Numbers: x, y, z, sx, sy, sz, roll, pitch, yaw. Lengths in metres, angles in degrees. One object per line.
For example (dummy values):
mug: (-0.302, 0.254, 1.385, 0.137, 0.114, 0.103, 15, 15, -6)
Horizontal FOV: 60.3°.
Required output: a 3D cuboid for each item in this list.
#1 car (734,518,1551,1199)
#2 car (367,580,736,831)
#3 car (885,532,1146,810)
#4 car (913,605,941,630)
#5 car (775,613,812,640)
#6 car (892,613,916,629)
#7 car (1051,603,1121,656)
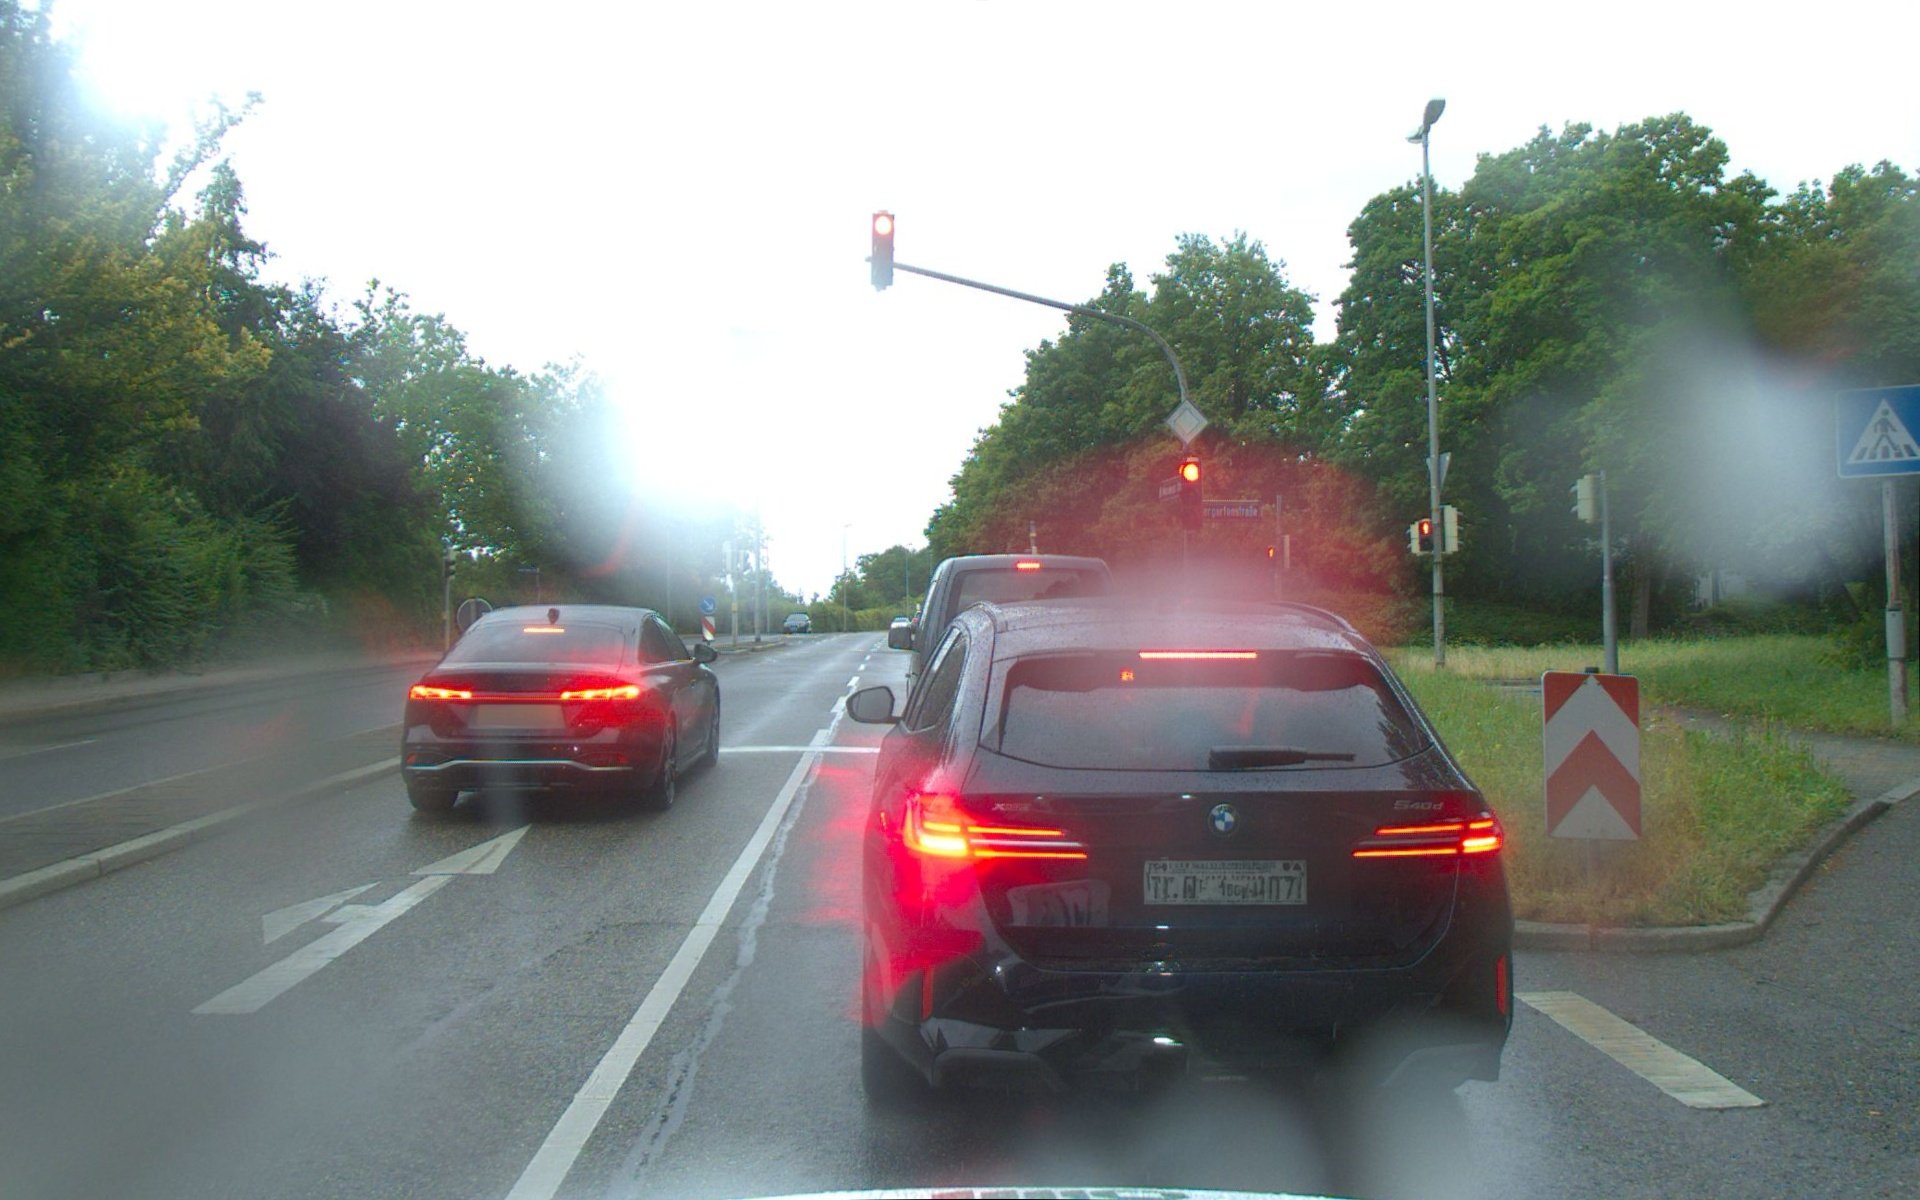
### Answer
car: (0.523, 0.646, 6.099, 1.858, 1.578, 4.616, 0, -1, 3)
car: (-2.953, 0.705, 12.967, 1.954, 1.554, 4.325, -2, 0, -3)
car: (0.374, 0.500, 13.352, 1.781, 1.901, 3.952, 0, 0, 0)
car: (-2.022, 1.098, 102.733, 1.663, 1.452, 3.513, -2, 0, 0)
car: (-11.937, 1.881, 118.714, 1.952, 1.858, 4.002, -2, -1, 4)
car: (-6.081, 2.323, 180.125, 1.951, 1.639, 3.674, -2, -1, 8)
car: (3.965, 0.916, 52.468, 1.835, 1.569, 3.952, -2, 0, 0)
